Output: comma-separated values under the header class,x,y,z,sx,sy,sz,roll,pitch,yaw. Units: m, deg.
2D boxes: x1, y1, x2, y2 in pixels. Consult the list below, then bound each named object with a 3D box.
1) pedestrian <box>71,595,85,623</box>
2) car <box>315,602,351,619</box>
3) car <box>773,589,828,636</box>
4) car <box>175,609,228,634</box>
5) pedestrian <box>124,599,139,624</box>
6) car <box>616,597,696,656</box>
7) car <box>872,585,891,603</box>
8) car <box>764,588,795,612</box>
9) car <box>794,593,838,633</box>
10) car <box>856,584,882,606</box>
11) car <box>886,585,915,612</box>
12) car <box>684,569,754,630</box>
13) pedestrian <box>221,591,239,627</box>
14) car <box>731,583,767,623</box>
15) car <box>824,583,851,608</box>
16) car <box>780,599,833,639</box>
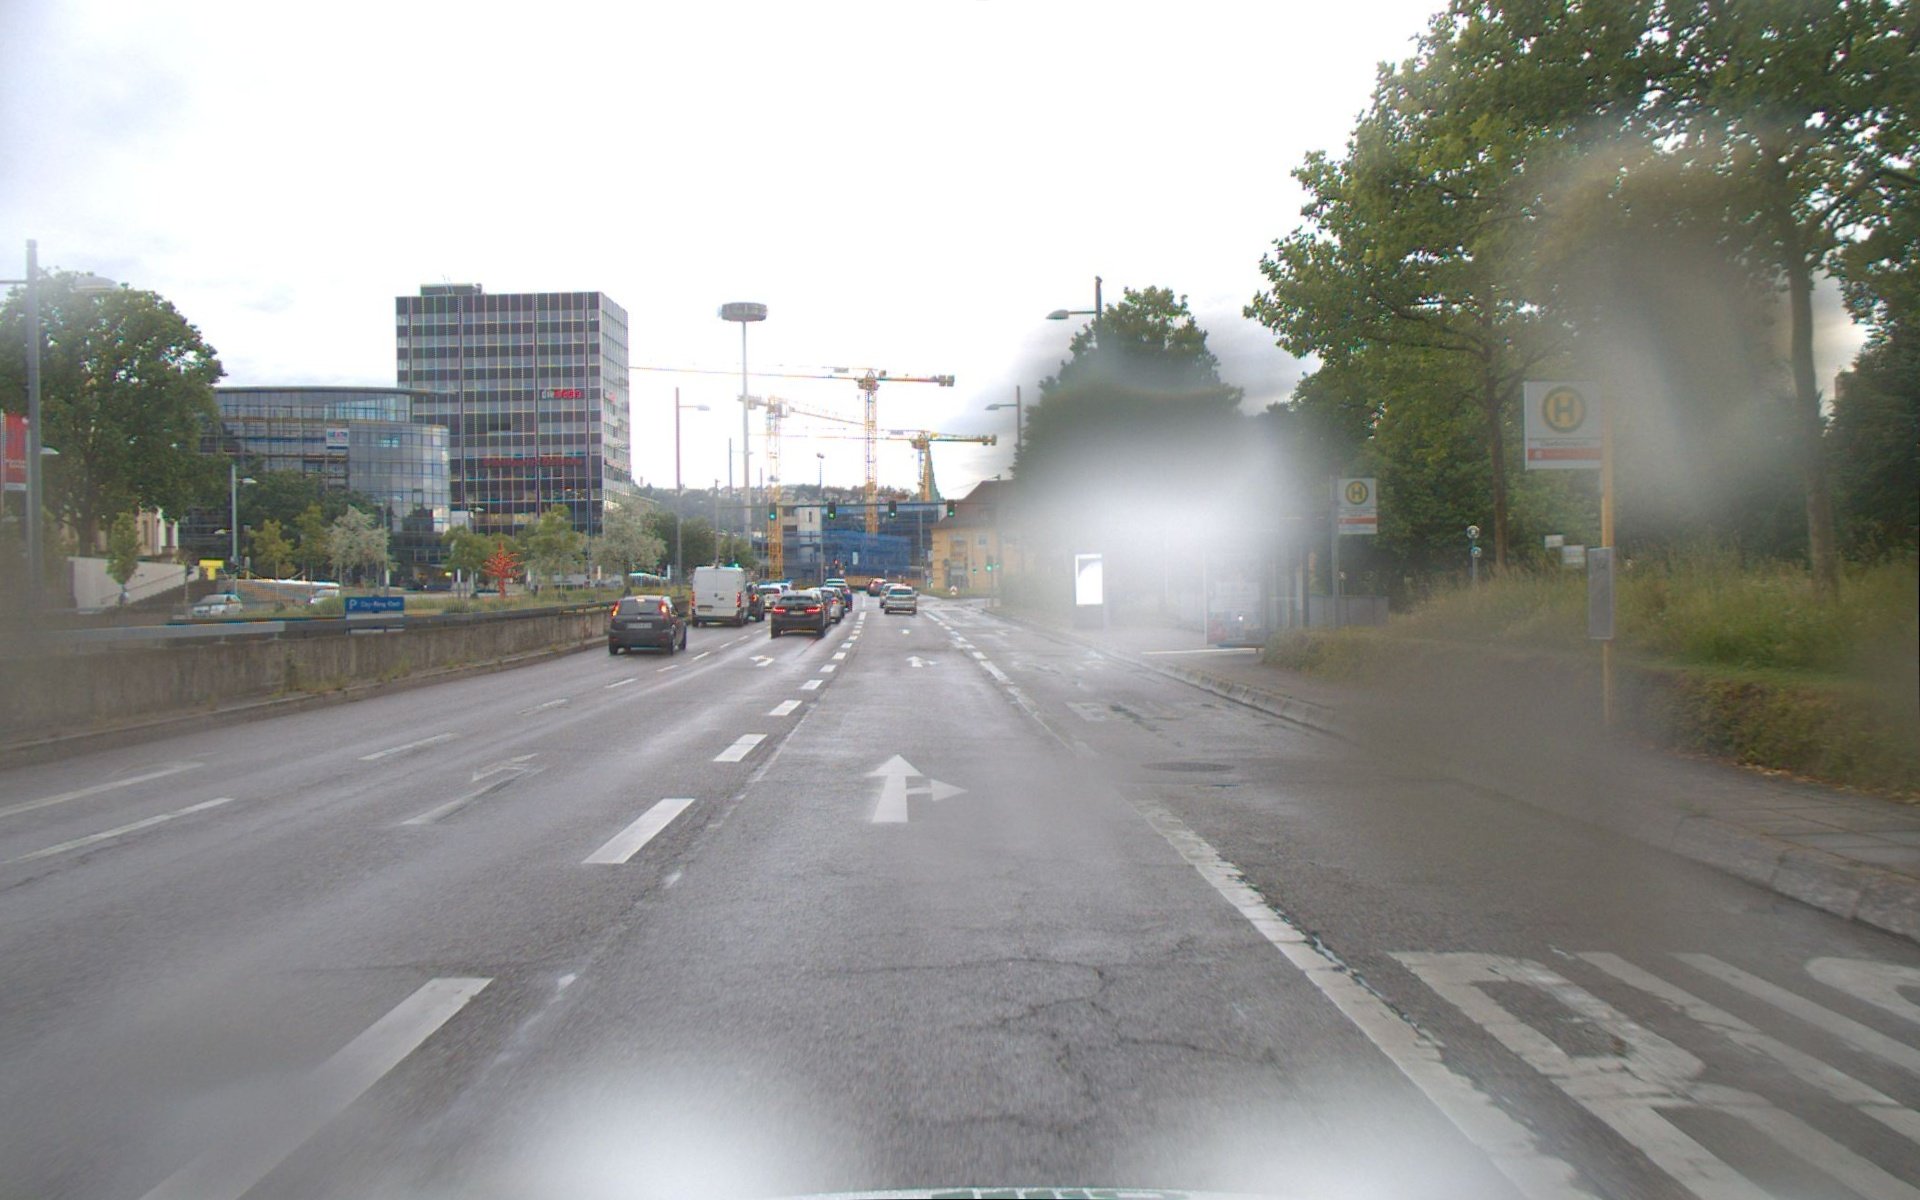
class,x,y,z,sx,sy,sz,roll,pitch,yaw
pedestrian,-45.270,0.462,84.868,0.459,1.407,0.575,0,-1,-12
car,-41.713,0.702,110.098,1.411,1.134,3.019,0,-1,-3
car,-5.402,0.384,56.407,1.719,1.497,4.219,0,1,-4
car,-40.710,1.159,88.843,1.379,1.277,3.166,0,-1,0
pedestrian,-47.283,0.654,94.395,0.482,1.448,0.633,0,-1,2
car,-7.765,0.680,42.530,1.511,1.440,3.899,0,-1,-3
car,-4.773,-0.372,101.105,1.054,1.008,1.971,0,-2,0
car,-9.764,0.015,89.418,1.520,1.282,2.579,0,-1,-3
car,-6.221,0.560,71.612,1.844,1.681,3.454,0,-1,-5
car,-8.187,-0.477,149.392,2.117,1.912,3.770,0,-1,0
car,-3.178,-0.060,88.224,1.414,1.383,2.412,0,-1,0
car,-9.610,0.016,66.299,2.246,2.355,5.003,0,-1,-2
pedestrian,-43.988,0.537,99.664,0.752,2.127,0.726,0,5,-5
car,-9.282,0.157,72.898,1.435,1.736,3.138,0,-1,-5
car,-6.923,-0.249,93.684,1.463,1.393,3.031,0,-1,-3
car,-5.960,0.758,64.434,1.792,1.521,3.398,0,-1,-1
